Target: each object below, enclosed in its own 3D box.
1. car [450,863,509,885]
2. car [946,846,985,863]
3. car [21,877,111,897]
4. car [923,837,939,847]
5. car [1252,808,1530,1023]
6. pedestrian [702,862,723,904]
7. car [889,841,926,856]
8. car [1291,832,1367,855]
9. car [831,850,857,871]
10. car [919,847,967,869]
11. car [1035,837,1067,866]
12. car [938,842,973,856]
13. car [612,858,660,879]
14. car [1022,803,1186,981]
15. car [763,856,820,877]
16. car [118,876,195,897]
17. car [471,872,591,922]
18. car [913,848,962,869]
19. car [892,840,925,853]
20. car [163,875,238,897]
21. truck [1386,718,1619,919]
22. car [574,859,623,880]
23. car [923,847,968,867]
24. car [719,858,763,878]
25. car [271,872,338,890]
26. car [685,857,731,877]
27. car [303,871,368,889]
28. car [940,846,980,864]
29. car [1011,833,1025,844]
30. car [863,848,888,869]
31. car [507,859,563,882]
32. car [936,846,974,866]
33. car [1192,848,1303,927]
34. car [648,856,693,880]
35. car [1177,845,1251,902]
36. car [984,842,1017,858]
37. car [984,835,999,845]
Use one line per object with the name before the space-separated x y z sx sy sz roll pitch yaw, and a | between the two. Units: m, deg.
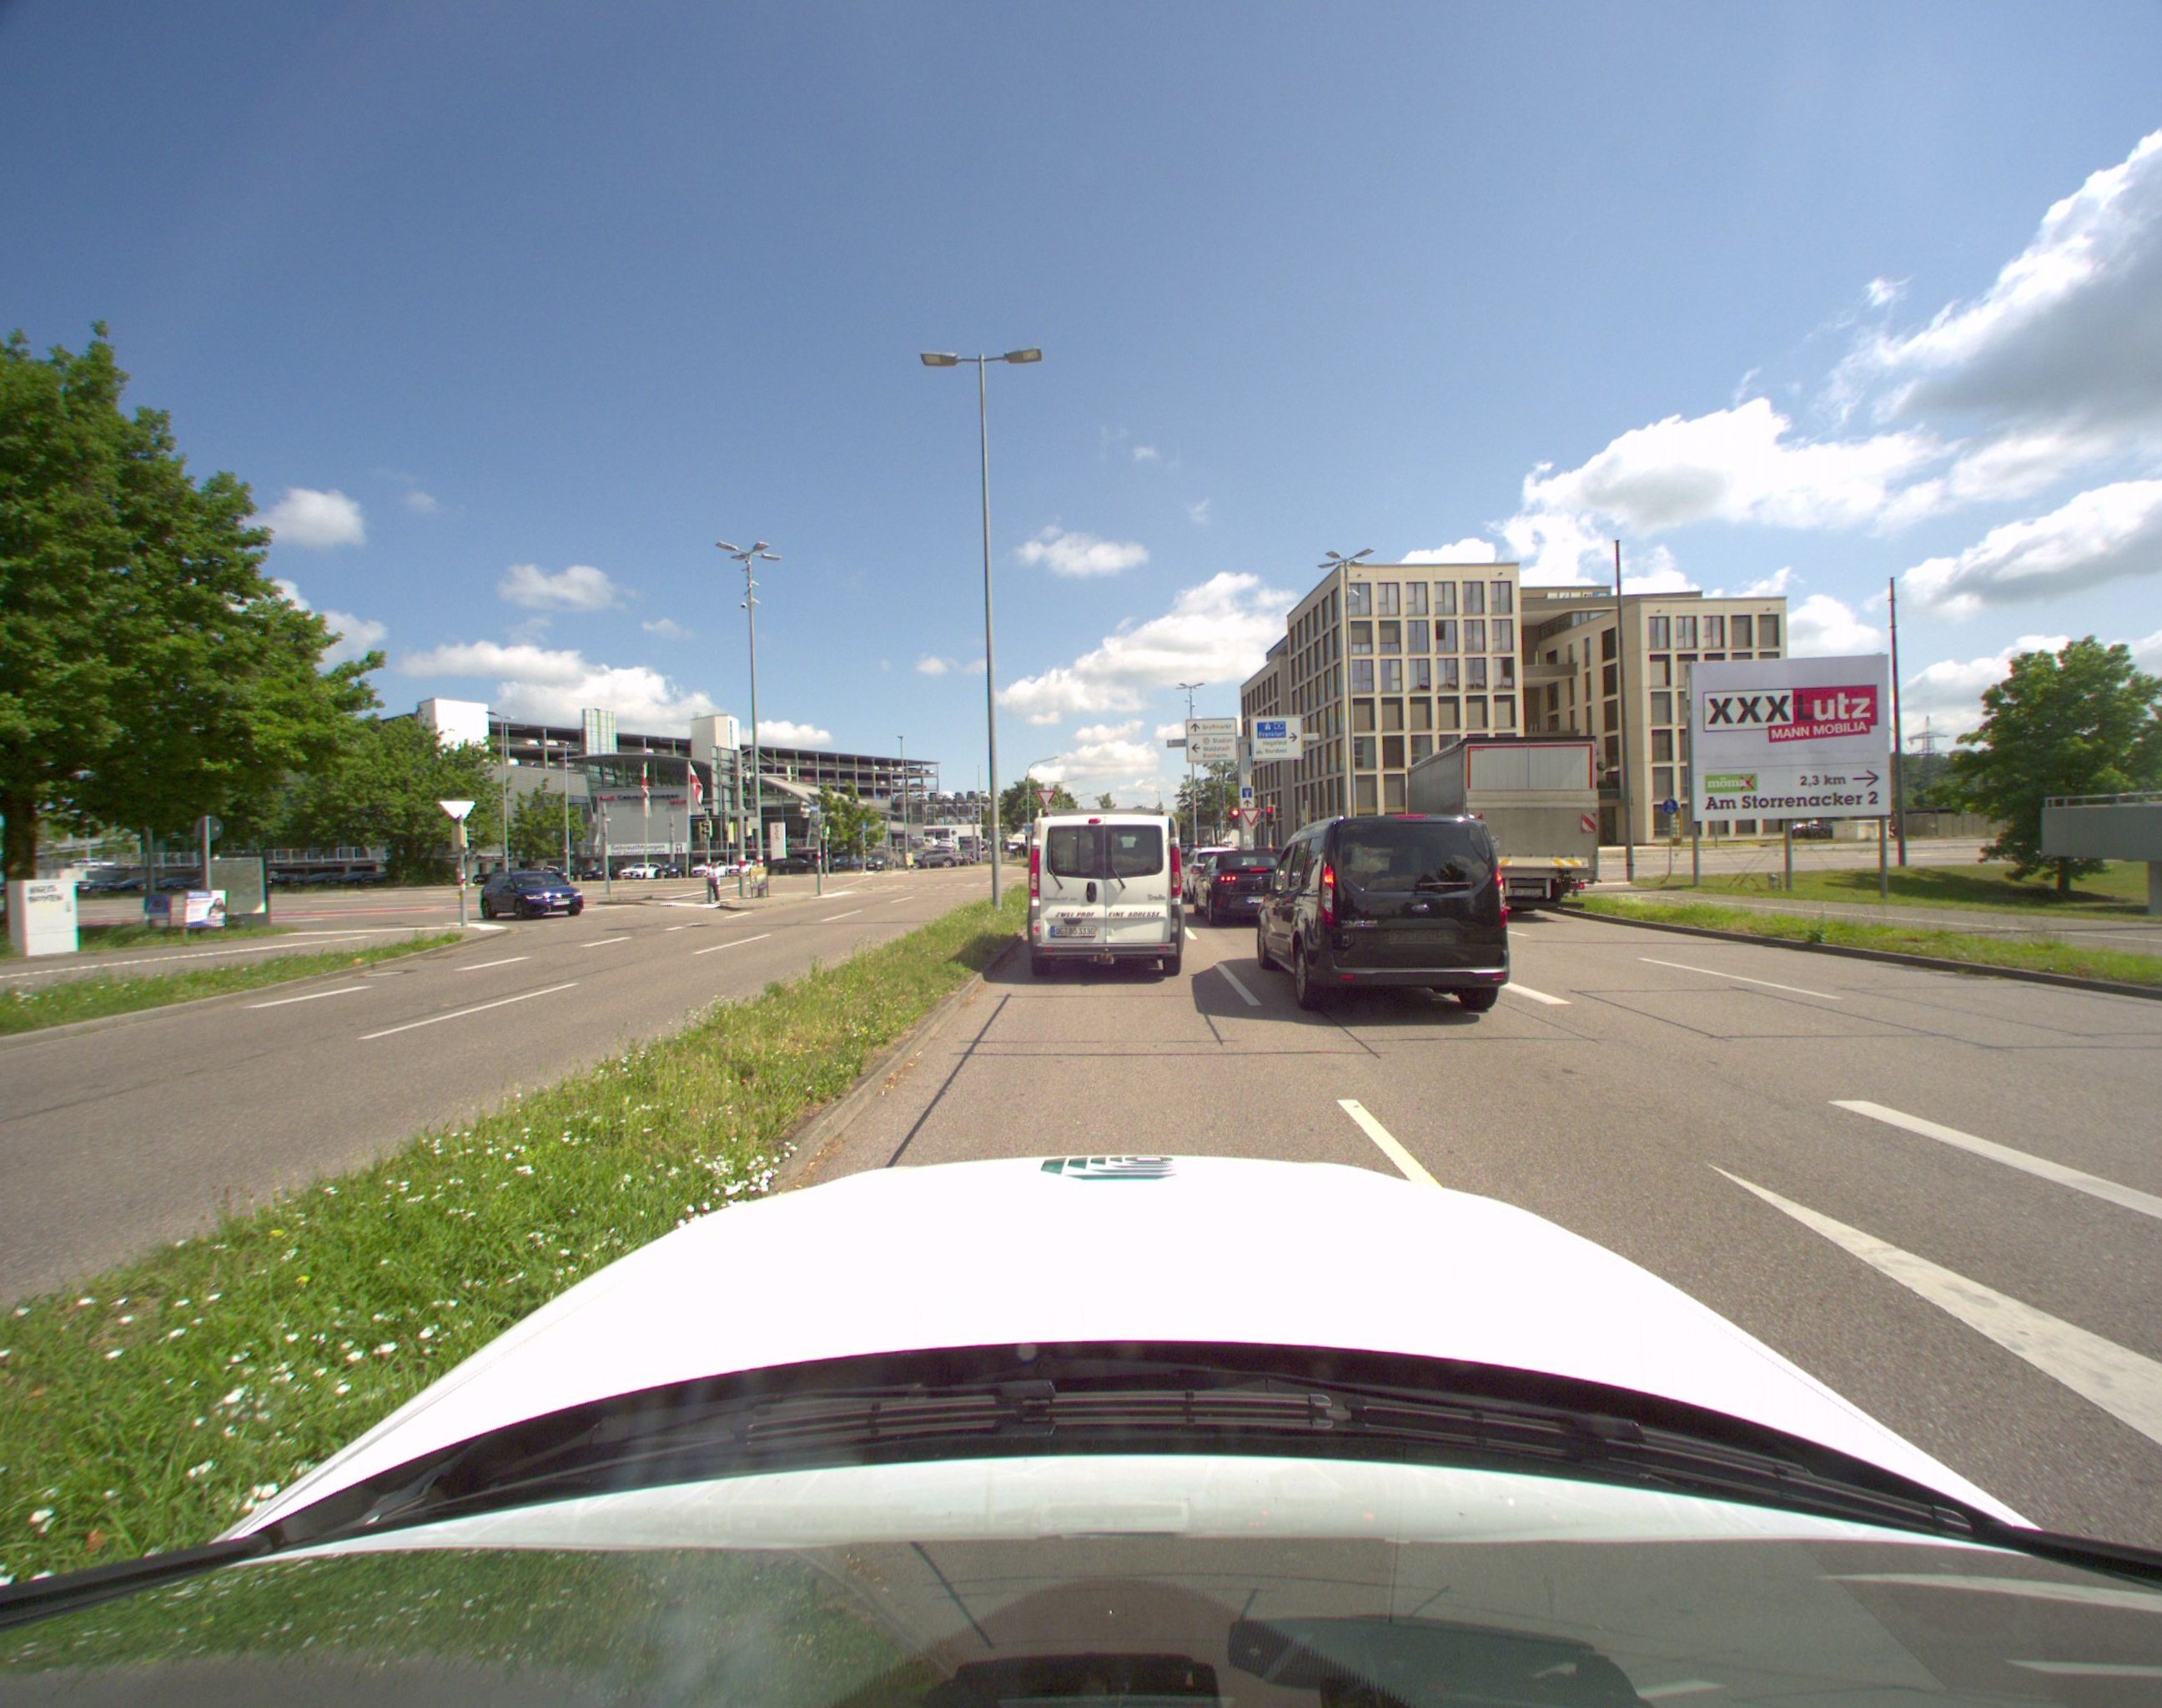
car | -45.533 1.504 61.739 1.833 1.487 3.697 -1 1 -3
car | -12.578 0.036 88.613 3.902 1.712 1.688 -3 1 -2
car | -77.810 2.522 62.496 1.791 1.254 4.002 -1 1 2
car | -22.697 -1.786 123.307 1.841 1.530 3.997 -1 1 -2
car | 3.044 0.506 8.914 1.811 1.808 4.006 0 0 5
pedestrian | -13.750 1.077 30.390 0.465 1.512 0.515 -1 0 27
car | -21.148 -0.657 99.254 4.157 1.713 1.686 -1 0 -4
car | 18.167 -0.788 59.878 4.968 1.607 1.999 -1 1 -1
car | -18.807 0.484 64.785 1.820 1.552 3.980 -1 0 -15
car | -12.197 0.311 72.328 3.902 1.712 1.688 -3 1 -2
car | -2.449 -0.268 67.411 1.962 2.256 4.988 -3 1 5
car | -15.487 -0.664 100.634 4.157 1.712 1.686 0 1 -5
car | -34.838 1.085 63.863 1.874 1.486 3.697 -1 1 -3
car | 0.399 0.433 11.257 1.847 2.018 4.004 -1 0 4
car | -22.718 0.987 63.983 3.784 1.513 1.677 -1 1 -4
car | -67.551 2.339 59.577 1.585 1.390 3.505 -1 0 2
car | -19.227 1.488 28.441 3.948 1.509 2.013 -2 2 33
car | -12.268 0.376 69.863 3.852 1.639 1.857 -3 1 -2
car | -23.085 -0.987 109.077 4.157 1.713 1.686 -1 0 -4
car | -64.491 2.319 59.716 1.585 1.390 3.505 -1 0 2
truck | 10.022 -0.769 20.646 3.108 3.940 8.890 -1 1 13
car | -37.644 1.209 63.648 1.723 1.486 3.699 -1 1 -2
car | -12.748 0.267 76.885 3.902 1.712 1.688 -3 1 -2
car | -26.748 1.074 64.195 1.771 1.450 4.027 -1 1 -2
car | -59.099 2.039 62.051 1.585 1.191 3.505 -1 0 2
car | -29.315 0.988 64.138 1.902 1.376 3.750 -1 1 -2
car | -56.200 1.961 61.453 1.585 1.191 3.505 -1 0 2
car | -12.652 0.100 85.516 3.902 1.712 1.688 -3 1 -2
car | -9.475 -2.328 122.329 1.841 1.530 3.997 -1 1 -2
car | -16.412 0.354 64.887 1.820 1.552 3.980 -1 0 -15
car | -41.839 1.254 62.513 1.810 1.664 3.790 -1 0 -2
car | -12.430 0.184 80.396 3.499 1.712 1.602 -3 1 -2
car | 3.457 0.644 17.577 1.733 1.495 4.003 0 0 3
car | -32.055 1.069 63.713 1.752 1.660 3.614 -1 1 -2
car | 3.883 0.544 24.384 1.733 1.543 4.003 0 0 3
car | -9.972 -0.515 101.214 3.980 1.925 1.824 -1 0 -5
car | -13.356 -2.088 121.931 1.841 1.530 3.997 -1 1 -2
